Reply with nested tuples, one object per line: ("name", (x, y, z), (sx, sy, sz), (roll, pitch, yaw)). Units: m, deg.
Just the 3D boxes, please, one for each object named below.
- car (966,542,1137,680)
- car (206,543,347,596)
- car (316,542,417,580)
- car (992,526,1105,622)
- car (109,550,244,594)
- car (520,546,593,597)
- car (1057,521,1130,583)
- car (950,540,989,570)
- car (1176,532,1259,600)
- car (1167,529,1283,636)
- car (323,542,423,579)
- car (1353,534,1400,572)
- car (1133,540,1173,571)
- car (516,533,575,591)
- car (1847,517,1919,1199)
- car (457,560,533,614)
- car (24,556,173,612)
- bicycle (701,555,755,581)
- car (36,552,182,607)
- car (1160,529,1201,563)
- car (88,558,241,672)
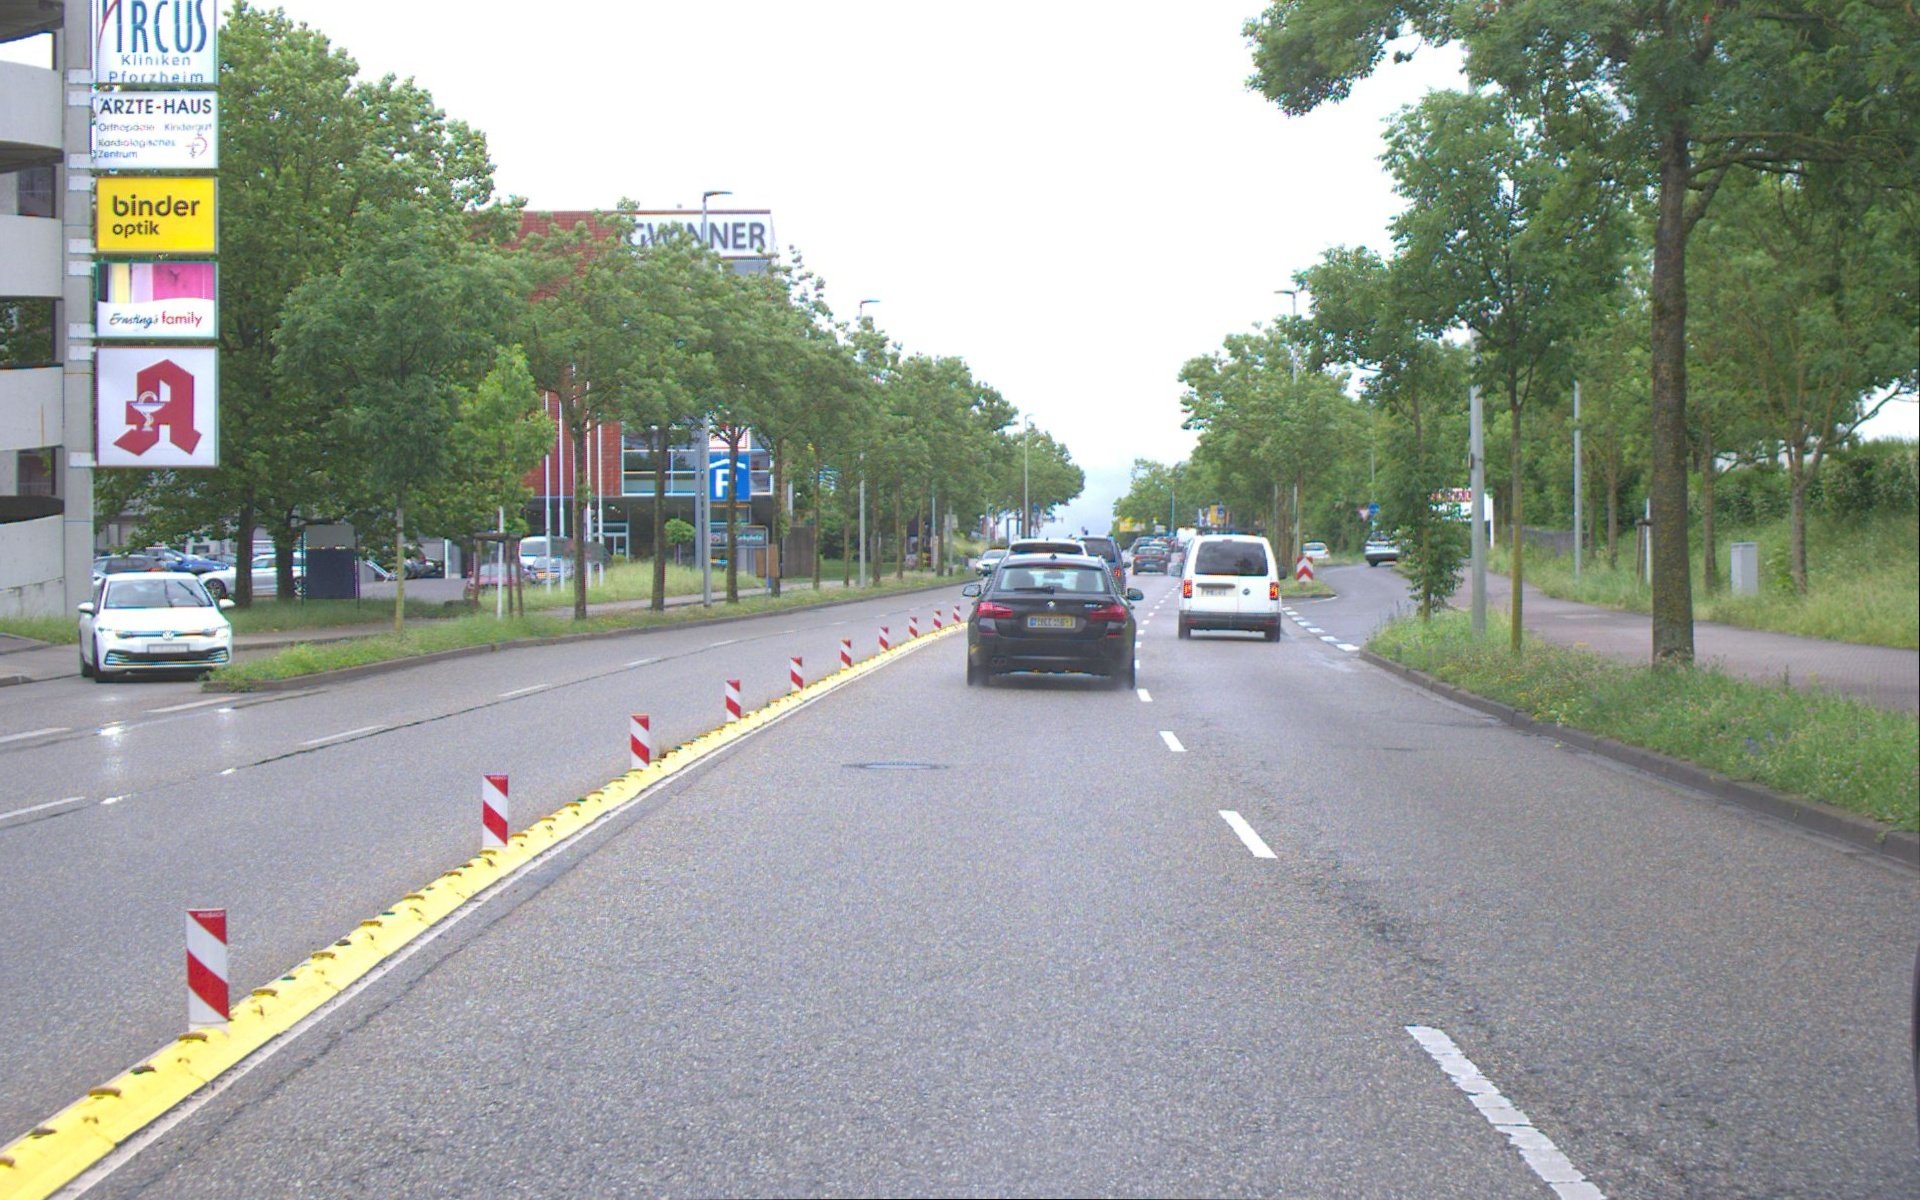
("car", (1.048, 0.084, 38.765), (1.827, 1.463, 4.000), (0, 1, 2))
("car", (-23.669, -1.066, 119.177), (4.598, 1.740, 1.967), (1, 2, -4))
("car", (-25.310, -1.661, 146.694), (4.108, 1.505, 1.819), (1, 2, -4))
("car", (1.514, -0.437, 57.911), (1.794, 1.505, 4.000), (2, 0, 2))
("car", (-29.157, -1.050, 128.024), (4.609, 1.505, 2.025), (1, 2, -4))
("car", (-15.049, -1.082, 128.413), (2.039, 1.756, 4.946), (1, 2, 1))
("car", (3.409, -1.215, 87.927), (1.794, 1.505, 4.000), (2, 0, 2))
("car", (0.536, -2.496, 188.974), (1.867, 1.547, 4.575), (-2, 1, 4))
("car", (6.025, -0.791, 80.698), (1.794, 1.505, 4.000), (2, 0, 3))
("car", (4.568, -0.336, 59.662), (1.827, 1.753, 4.000), (2, 1, 2))
("car", (-25.408, -1.702, 148.932), (4.108, 1.505, 1.819), (1, 2, -4))
("car", (17.557, -1.977, 144.876), (1.795, 1.505, 3.998), (2, 0, 9))
("car", (9.802, -2.256, 174.532), (1.794, 1.505, 4.000), (2, 0, 0))
("car", (-16.155, -1.509, 134.171), (2.113, 2.088, 5.123), (1, 2, -5))
("car", (3.026, 0.654, 6.197), (1.685, 1.575, 4.219), (2, 1, 0))
("car", (-15.366, -0.441, 113.803), (1.933, 1.603, 4.712), (1, 2, -1))
("car", (-28.533, -0.547, 113.963), (4.597, 1.740, 1.968), (1, 2, -7))
("bicycle", (-9.913, -1.365, 146.985), (2.077, 0.932, 1.093), (4, 1, 8))
("car", (-28.905, -0.714, 116.845), (4.597, 1.740, 2.134), (1, 2, -7))
("car", (10.265, -2.517, 160.127), (1.794, 1.505, 4.000), (2, 0, 2))
("car", (-10.804, 0.164, 46.801), (1.899, 1.403, 4.425), (-2, 1, -13))
